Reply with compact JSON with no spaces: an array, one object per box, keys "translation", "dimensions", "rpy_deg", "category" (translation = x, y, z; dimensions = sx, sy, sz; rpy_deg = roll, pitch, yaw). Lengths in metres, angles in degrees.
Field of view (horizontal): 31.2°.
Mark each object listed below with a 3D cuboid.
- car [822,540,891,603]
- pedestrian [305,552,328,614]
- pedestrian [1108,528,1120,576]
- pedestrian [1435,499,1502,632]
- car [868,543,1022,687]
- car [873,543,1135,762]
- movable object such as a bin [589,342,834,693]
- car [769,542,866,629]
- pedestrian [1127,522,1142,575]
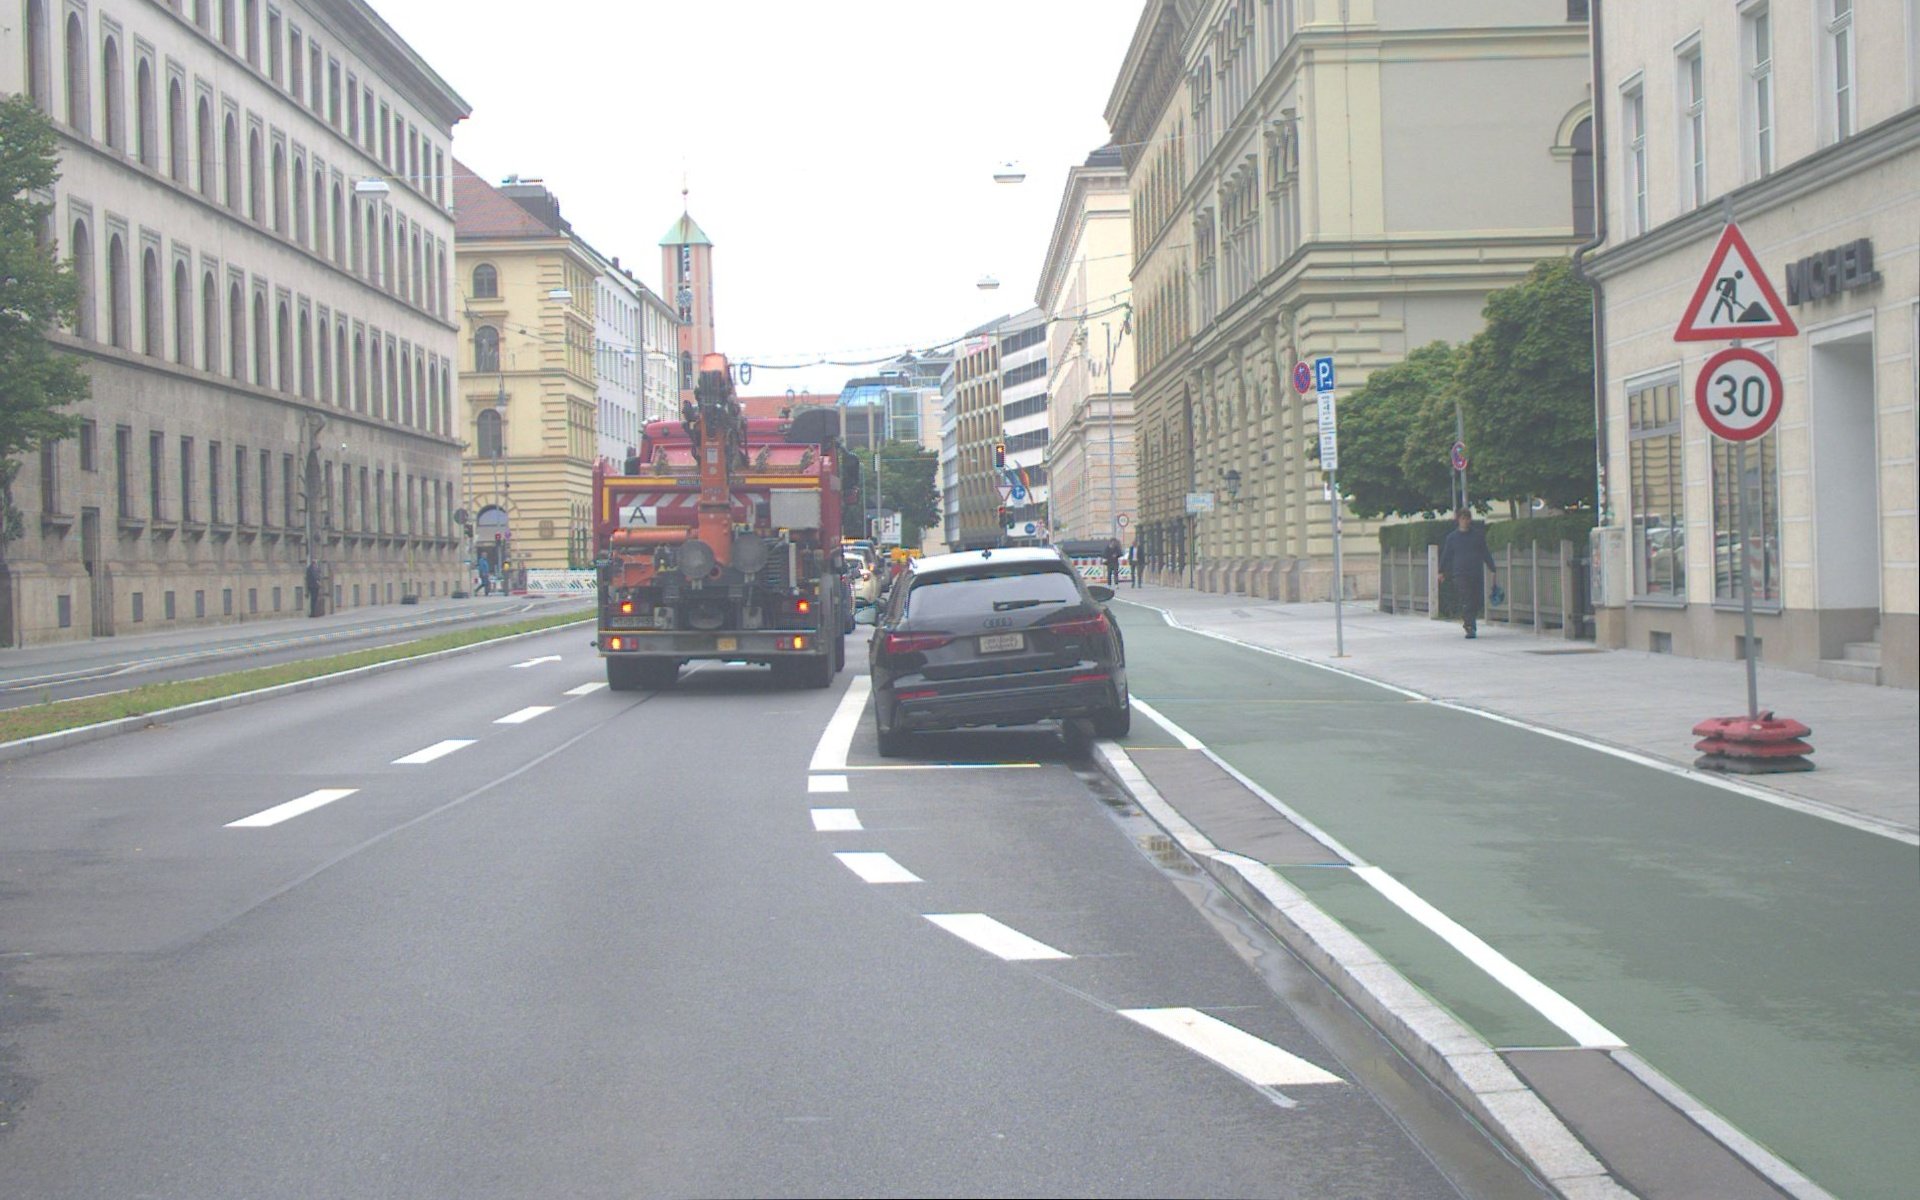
[{"translation":[-2.557,-0.729,85.444],"dimensions":[1.610,1.490,3.425],"rpy_deg":[-2,1,-1],"category":"car"},{"translation":[-19.137,-0.505,102.285],"dimensions":[0.588,1.825,0.499],"rpy_deg":[-1,1,-2],"category":"pedestrian"},{"translation":[5.363,-1.677,119.858],"dimensions":[0.337,1.666,0.440],"rpy_deg":[-2,1,1],"category":"pedestrian"},{"translation":[7.136,-0.494,48.244],"dimensions":[0.790,1.830,0.777],"rpy_deg":[-2,1,1],"category":"pedestrian"},{"translation":[-0.177,0.129,38.503],"dimensions":[1.610,1.490,3.425],"rpy_deg":[-2,1,-1],"category":"car"},{"translation":[0.251,0.328,26.525],"dimensions":[1.801,1.475,4.687],"rpy_deg":[-2,1,-1],"category":"car"},{"translation":[-2.677,-0.904,38.537],"dimensions":[2.423,3.599,5.852],"rpy_deg":[-1,1,-2],"category":"movable object such as a bin"},{"translation":[-2.579,-0.285,62.691],"dimensions":[1.610,1.490,3.425],"rpy_deg":[-2,1,-1],"category":"car"},{"translation":[6.075,-1.780,119.820],"dimensions":[0.445,1.830,0.556],"rpy_deg":[-2,1,1],"category":"pedestrian"}]
